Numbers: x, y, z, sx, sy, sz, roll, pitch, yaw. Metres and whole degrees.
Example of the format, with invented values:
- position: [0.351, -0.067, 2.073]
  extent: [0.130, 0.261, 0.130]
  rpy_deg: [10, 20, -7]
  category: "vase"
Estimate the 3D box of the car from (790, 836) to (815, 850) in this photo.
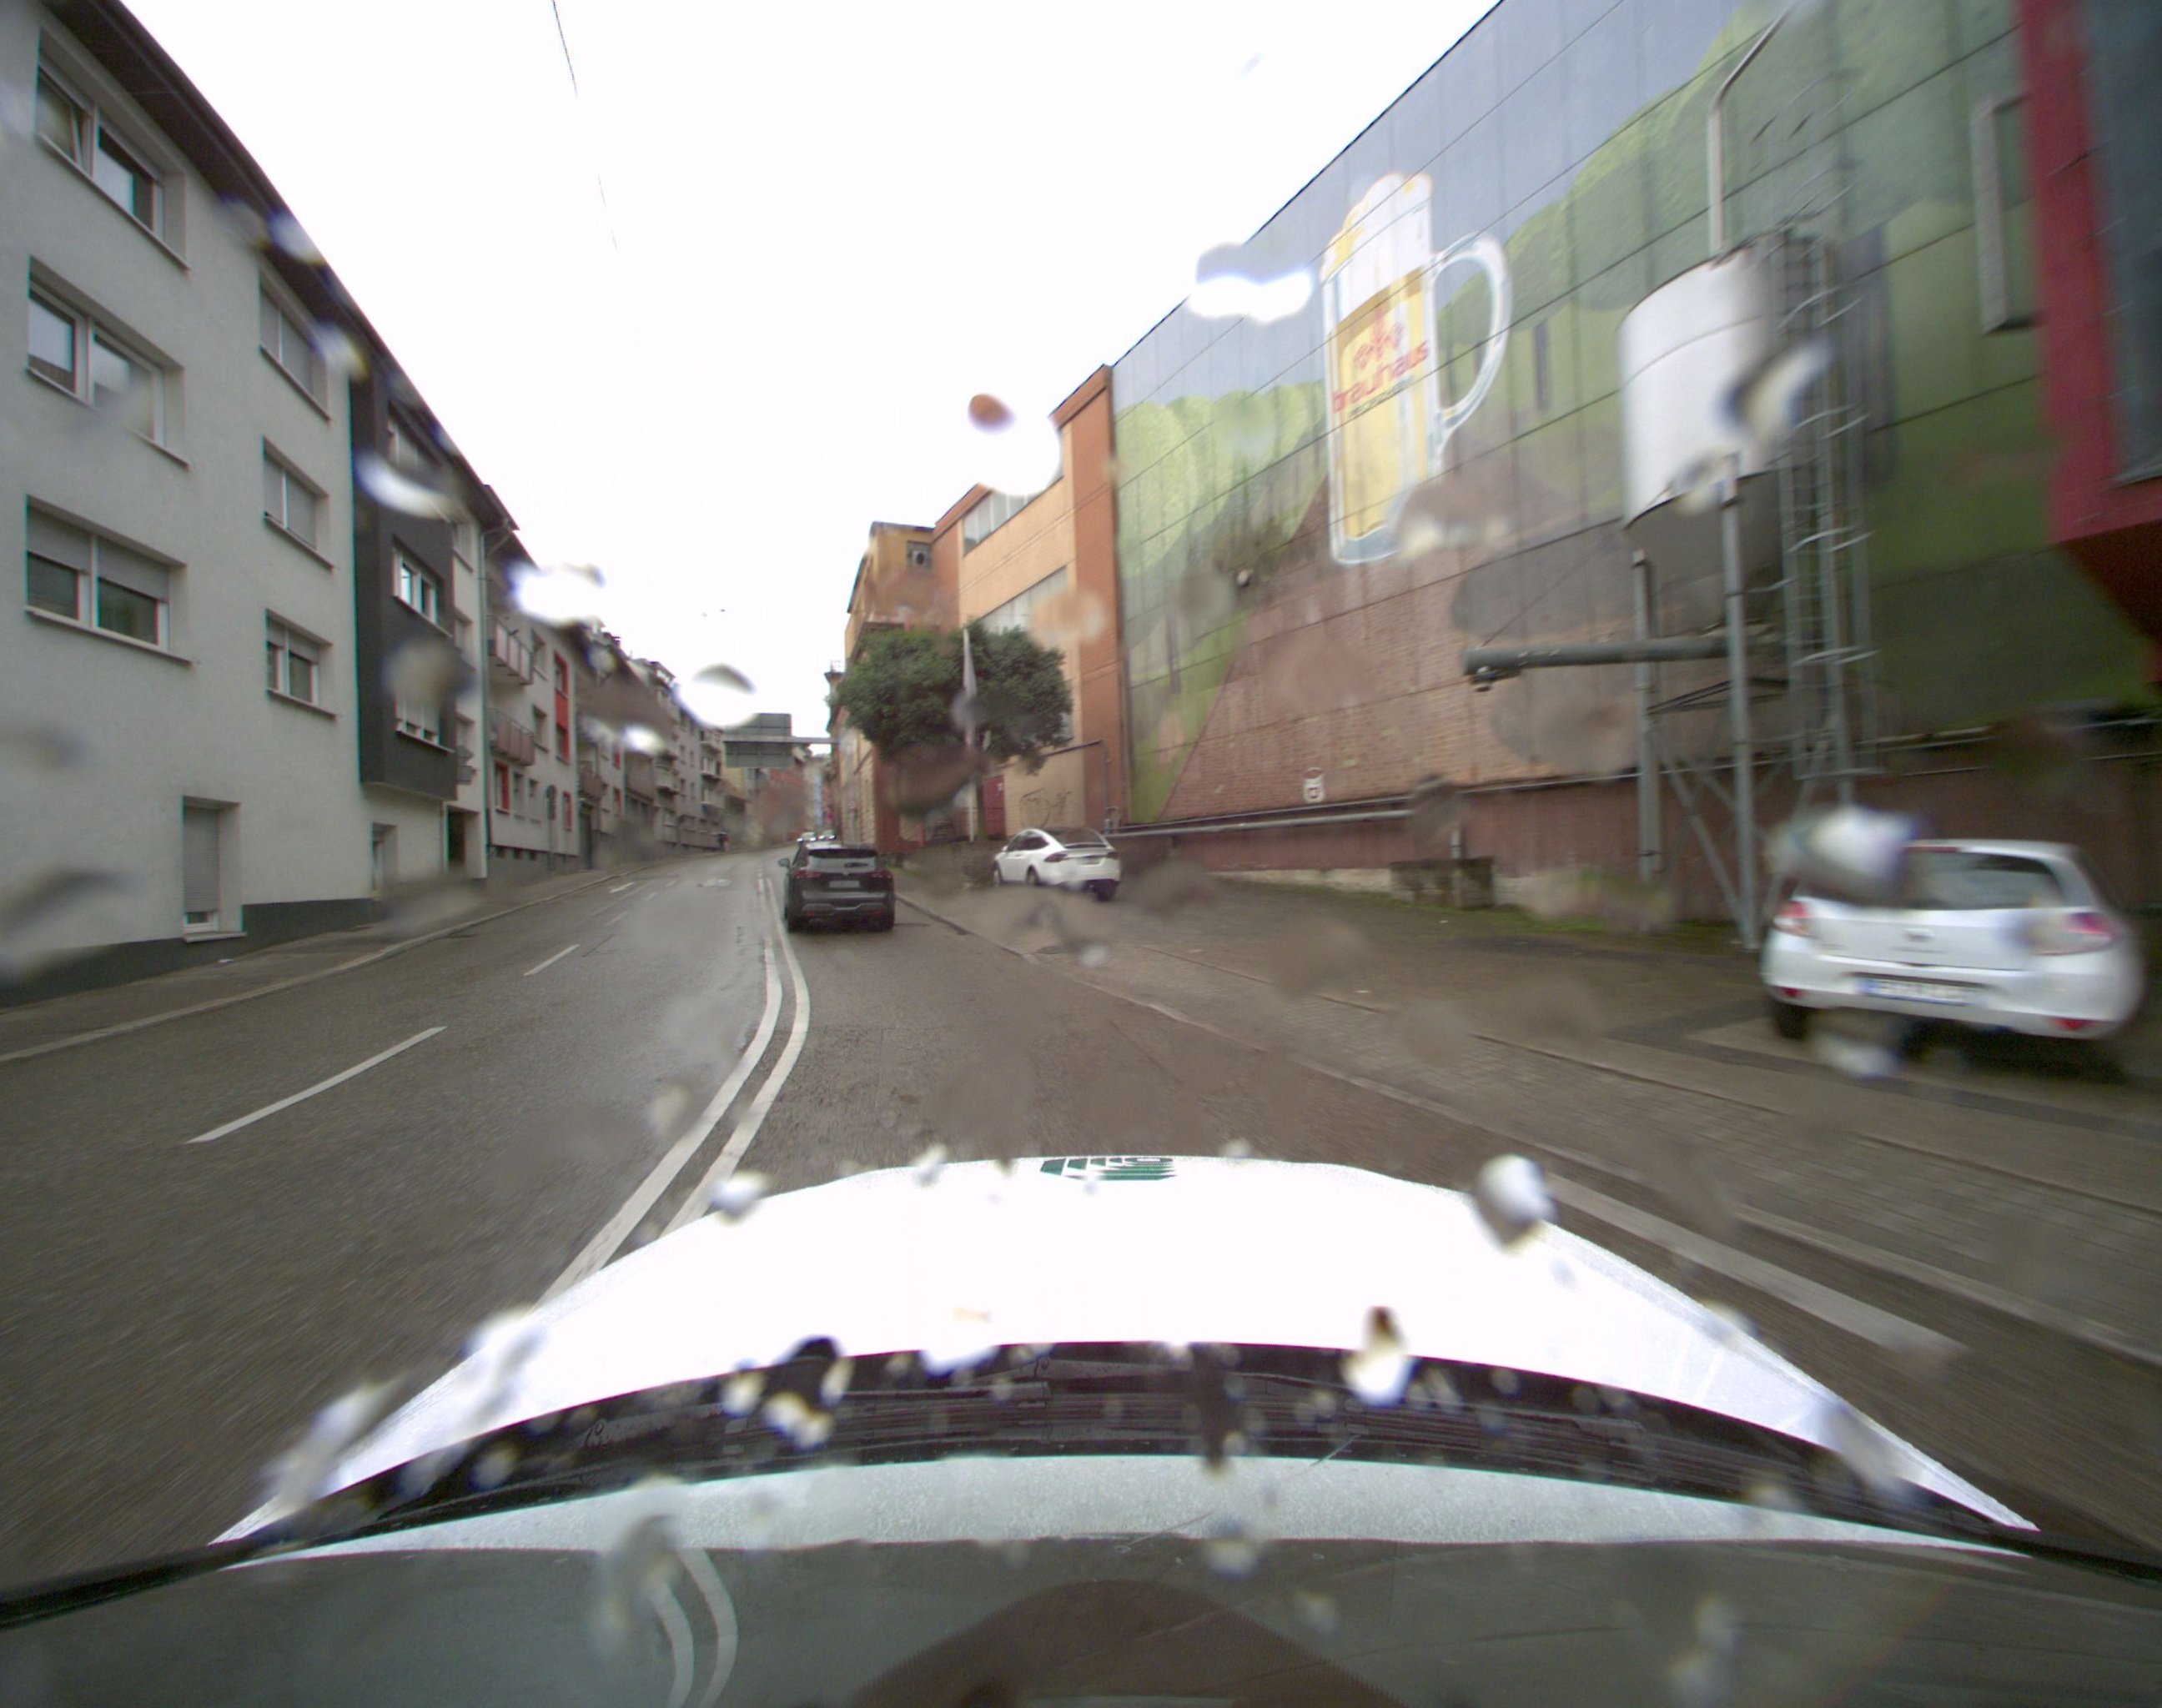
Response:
- position: [-31.480, -1.207, 92.117]
  extent: [1.792, 1.510, 3.991]
  rpy_deg: [-2, 0, -6]
  category: "car"

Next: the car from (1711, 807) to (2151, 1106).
- position: [6.895, 0.530, 6.497]
  extent: [4.011, 1.532, 1.855]
  rpy_deg: [-5, 2, -36]
  category: "car"

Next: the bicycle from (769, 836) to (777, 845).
- position: [-37.826, -1.665, 100.002]
  extent: [0.498, 1.107, 1.795]
  rpy_deg: [-2, 3, -8]
  category: "bicycle"

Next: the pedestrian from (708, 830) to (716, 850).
- position: [-34.016, -1.278, 75.028]
  extent: [0.524, 1.775, 0.619]
  rpy_deg: [-2, 2, -15]
  category: "pedestrian"

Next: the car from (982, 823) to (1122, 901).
- position: [-0.870, 0.074, 20.120]
  extent: [1.860, 1.617, 4.880]
  rpy_deg: [-2, 3, -22]
  category: "car"

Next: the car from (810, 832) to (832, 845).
- position: [-33.204, -1.906, 104.146]
  extent: [1.792, 1.510, 3.991]
  rpy_deg: [-2, 0, -6]
  category: "car"

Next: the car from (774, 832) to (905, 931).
- position: [-4.673, 0.472, 15.379]
  extent: [1.890, 1.594, 3.890]
  rpy_deg: [0, -1, -24]
  category: "car"

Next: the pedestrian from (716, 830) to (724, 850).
- position: [-33.362, -1.300, 75.232]
  extent: [0.524, 1.775, 0.619]
  rpy_deg: [-2, 2, -15]
  category: "pedestrian"
